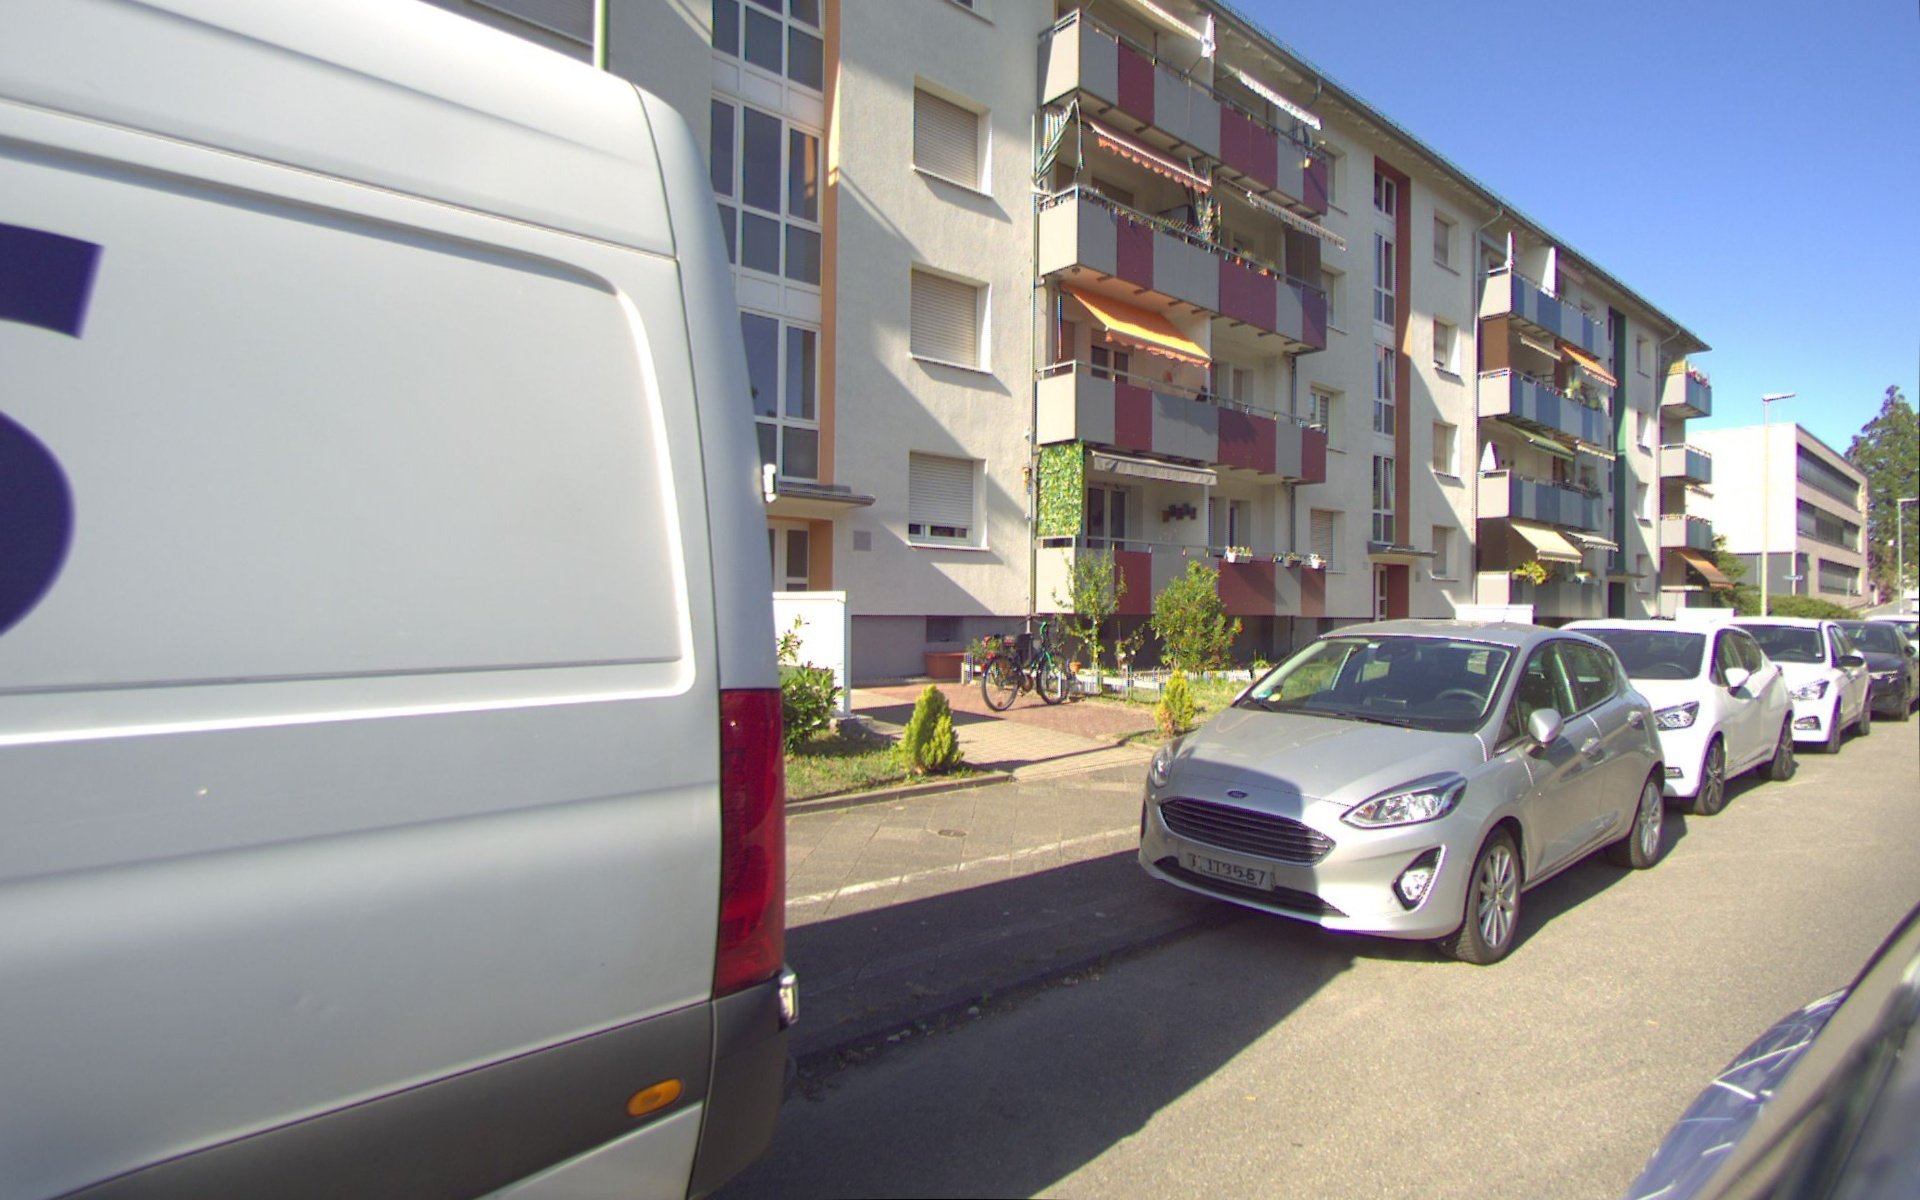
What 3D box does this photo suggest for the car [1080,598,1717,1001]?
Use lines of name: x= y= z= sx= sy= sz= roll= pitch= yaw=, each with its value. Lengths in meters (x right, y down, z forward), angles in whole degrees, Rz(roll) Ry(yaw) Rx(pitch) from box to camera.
car: x=2.748 y=0.767 z=5.839 sx=4.130 sy=1.485 sz=1.851 roll=1 pitch=-2 yaw=-43

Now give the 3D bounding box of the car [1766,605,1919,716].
car: x=14.179 y=0.831 z=15.891 sx=4.395 sy=1.453 sz=1.702 roll=0 pitch=1 yaw=-43

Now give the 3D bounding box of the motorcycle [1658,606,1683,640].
motorcycle: x=25.864 y=0.818 z=36.827 sx=0.582 sy=1.166 sz=2.008 roll=0 pitch=0 yaw=40

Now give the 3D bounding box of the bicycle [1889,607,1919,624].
bicycle: x=68.478 y=1.107 z=73.046 sx=0.867 sy=1.076 sz=2.029 roll=1 pitch=3 yaw=-41

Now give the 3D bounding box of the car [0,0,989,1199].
car: x=-3.221 y=0.115 z=0.784 sx=6.719 sy=2.747 sz=2.147 roll=0 pitch=1 yaw=-40

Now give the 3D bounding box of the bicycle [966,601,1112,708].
bicycle: x=1.009 y=0.630 z=12.560 sx=1.980 sy=1.191 sz=0.596 roll=-2 pitch=1 yaw=-42

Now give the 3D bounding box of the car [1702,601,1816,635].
car: x=41.335 y=0.887 z=52.396 sx=1.882 sy=1.644 sz=4.412 roll=1 pitch=0 yaw=-43

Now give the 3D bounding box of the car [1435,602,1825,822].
car: x=6.089 y=0.782 z=9.016 sx=4.067 sy=1.494 sz=1.881 roll=0 pitch=0 yaw=-41

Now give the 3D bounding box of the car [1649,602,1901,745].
car: x=10.110 y=0.766 z=12.442 sx=4.080 sy=1.454 sz=1.724 roll=0 pitch=0 yaw=-41

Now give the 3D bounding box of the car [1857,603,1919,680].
car: x=20.435 y=0.830 z=21.550 sx=3.797 sy=1.518 sz=1.749 roll=0 pitch=0 yaw=-44

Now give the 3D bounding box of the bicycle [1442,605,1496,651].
bicycle: x=12.812 y=0.682 z=25.448 sx=1.975 sy=1.084 sz=0.524 roll=0 pitch=2 yaw=-42
